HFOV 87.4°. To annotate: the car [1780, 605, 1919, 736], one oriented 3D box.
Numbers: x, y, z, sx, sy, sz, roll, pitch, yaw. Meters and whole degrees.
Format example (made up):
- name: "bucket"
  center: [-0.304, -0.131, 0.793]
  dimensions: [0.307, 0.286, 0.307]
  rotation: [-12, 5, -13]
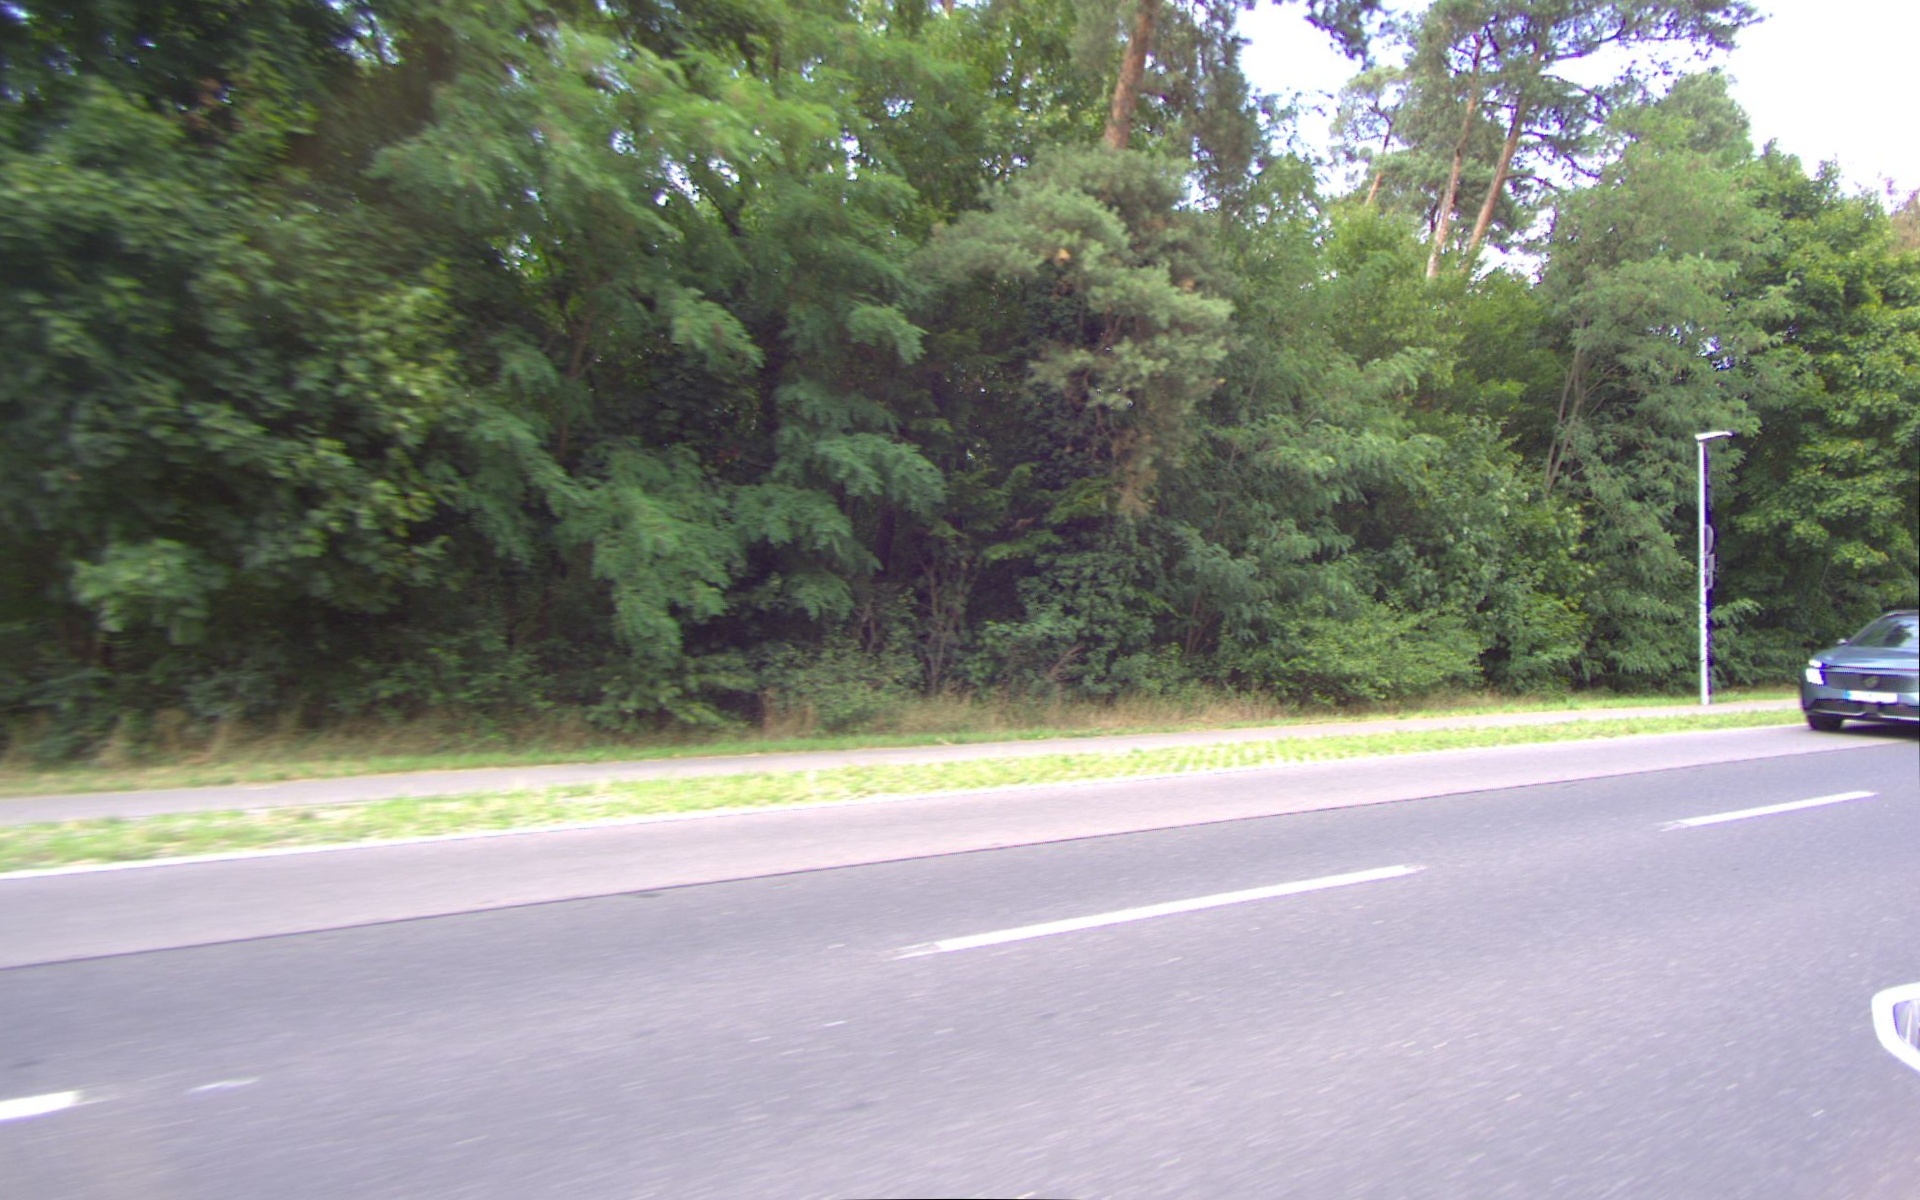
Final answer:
- name: "car"
  center: [13.834, 0.972, 14.107]
  dimensions: [4.605, 1.638, 1.986]
  rotation: [2, -2, -28]
